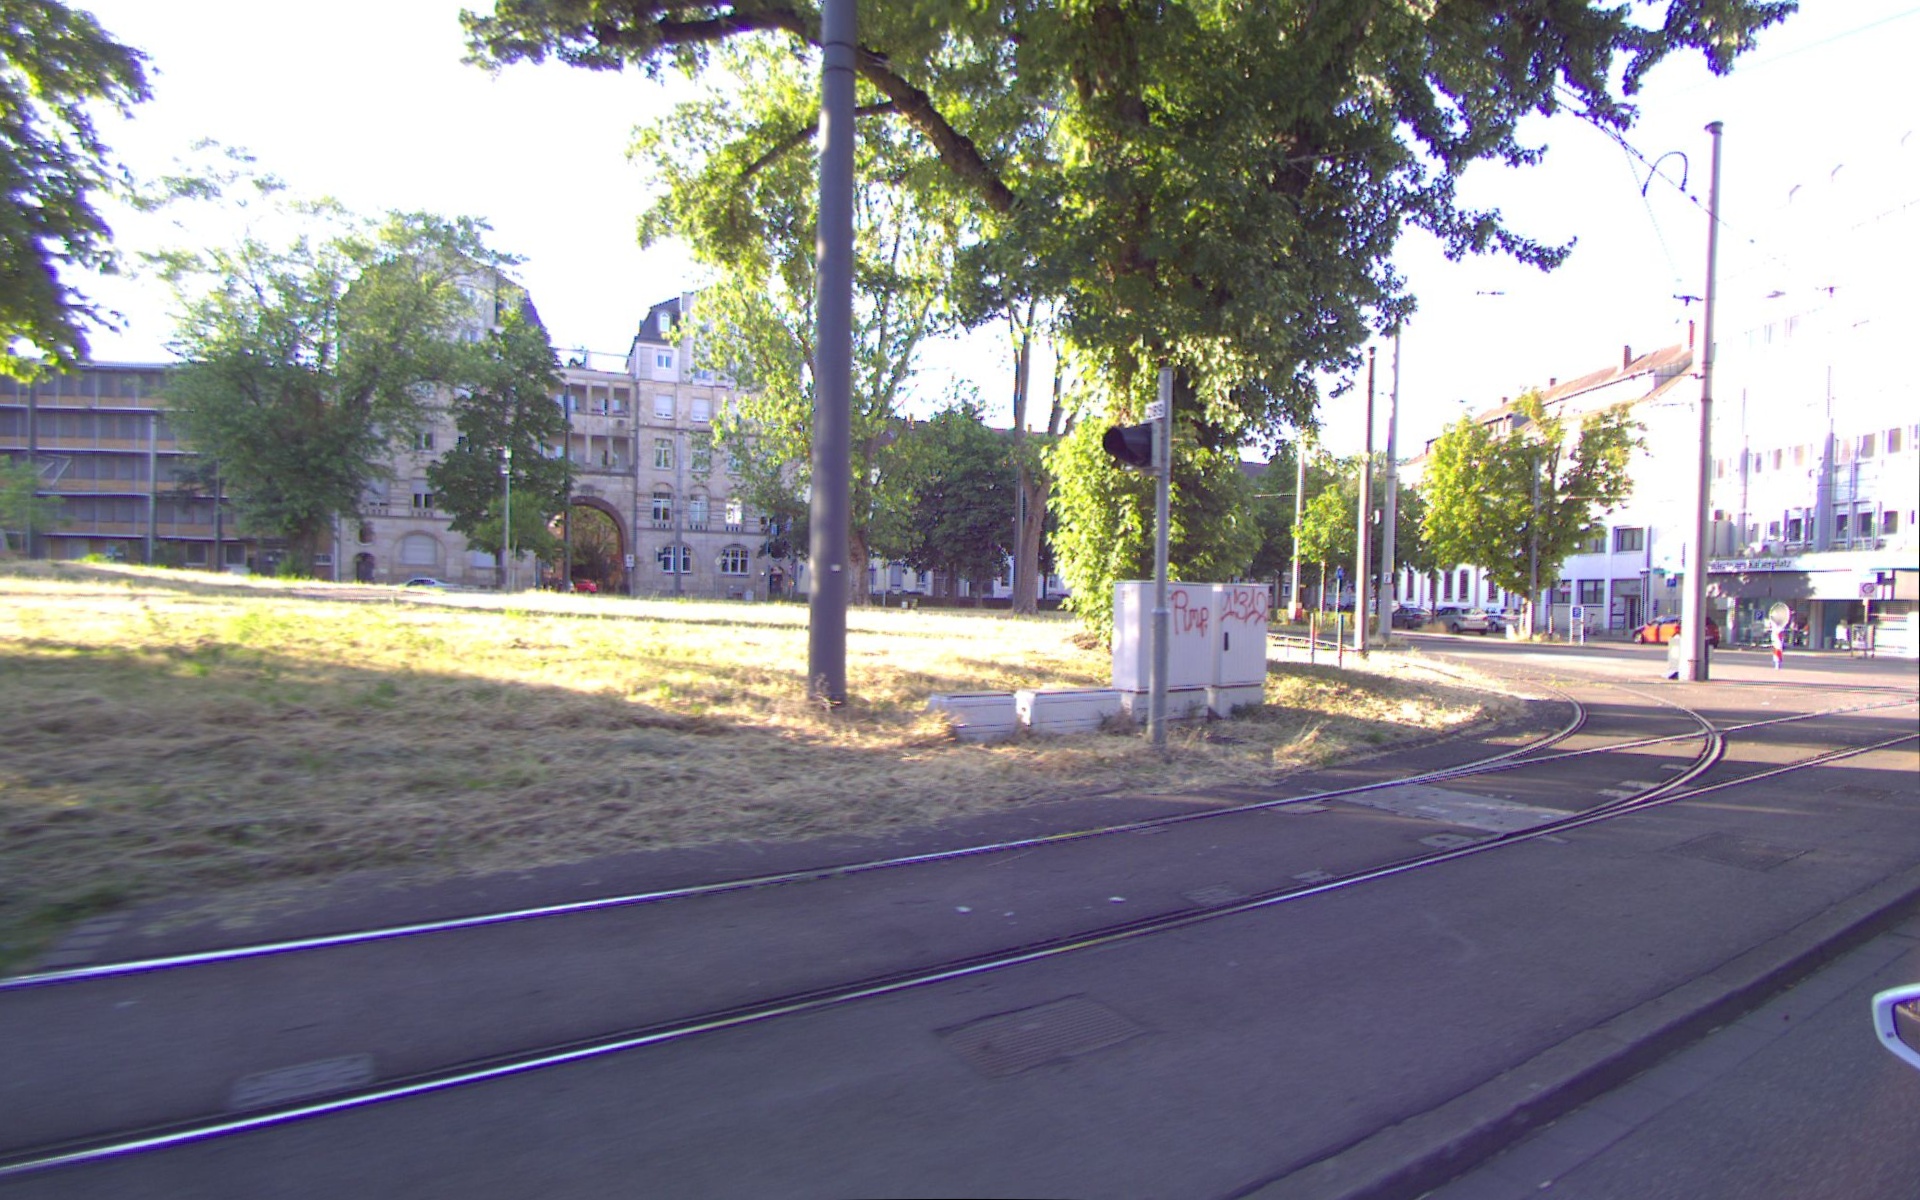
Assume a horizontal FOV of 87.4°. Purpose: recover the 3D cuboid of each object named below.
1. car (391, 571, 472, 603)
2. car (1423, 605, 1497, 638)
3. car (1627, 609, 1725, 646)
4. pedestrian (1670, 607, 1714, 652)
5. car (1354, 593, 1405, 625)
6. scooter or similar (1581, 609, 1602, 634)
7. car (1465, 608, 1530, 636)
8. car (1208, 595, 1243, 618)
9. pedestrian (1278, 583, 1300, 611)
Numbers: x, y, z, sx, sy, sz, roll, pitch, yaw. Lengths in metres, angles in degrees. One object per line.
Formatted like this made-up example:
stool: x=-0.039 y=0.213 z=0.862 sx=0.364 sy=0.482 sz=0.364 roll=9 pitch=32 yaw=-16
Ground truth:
car: x=-32.848 y=-0.846 z=62.477 sx=3.923 sy=1.818 sz=1.999 roll=2 pitch=1 yaw=-4
car: x=28.810 y=1.234 z=58.027 sx=1.962 sy=1.706 sz=3.996 roll=2 pitch=1 yaw=-5
car: x=33.429 y=1.258 z=47.030 sx=1.986 sy=1.505 sz=4.002 roll=3 pitch=1 yaw=6
pedestrian: x=29.152 y=1.158 z=40.018 sx=1.139 sy=1.725 sz=0.908 roll=2 pitch=0 yaw=17
car: x=28.683 y=0.586 z=68.802 sx=1.960 sy=2.040 sz=4.001 roll=2 pitch=1 yaw=5
scooter or similar: x=37.306 y=1.260 z=59.364 sx=0.741 sy=1.417 sz=1.926 roll=3 pitch=2 yaw=25
car: x=33.247 y=1.333 z=62.266 sx=1.960 sy=1.550 sz=4.001 roll=2 pitch=1 yaw=3
car: x=25.662 y=0.625 z=97.329 sx=1.962 sy=2.040 sz=3.996 roll=2 pitch=1 yaw=-5
pedestrian: x=25.186 y=-0.250 z=76.975 sx=1.097 sy=2.040 sz=1.465 roll=2 pitch=1 yaw=1
